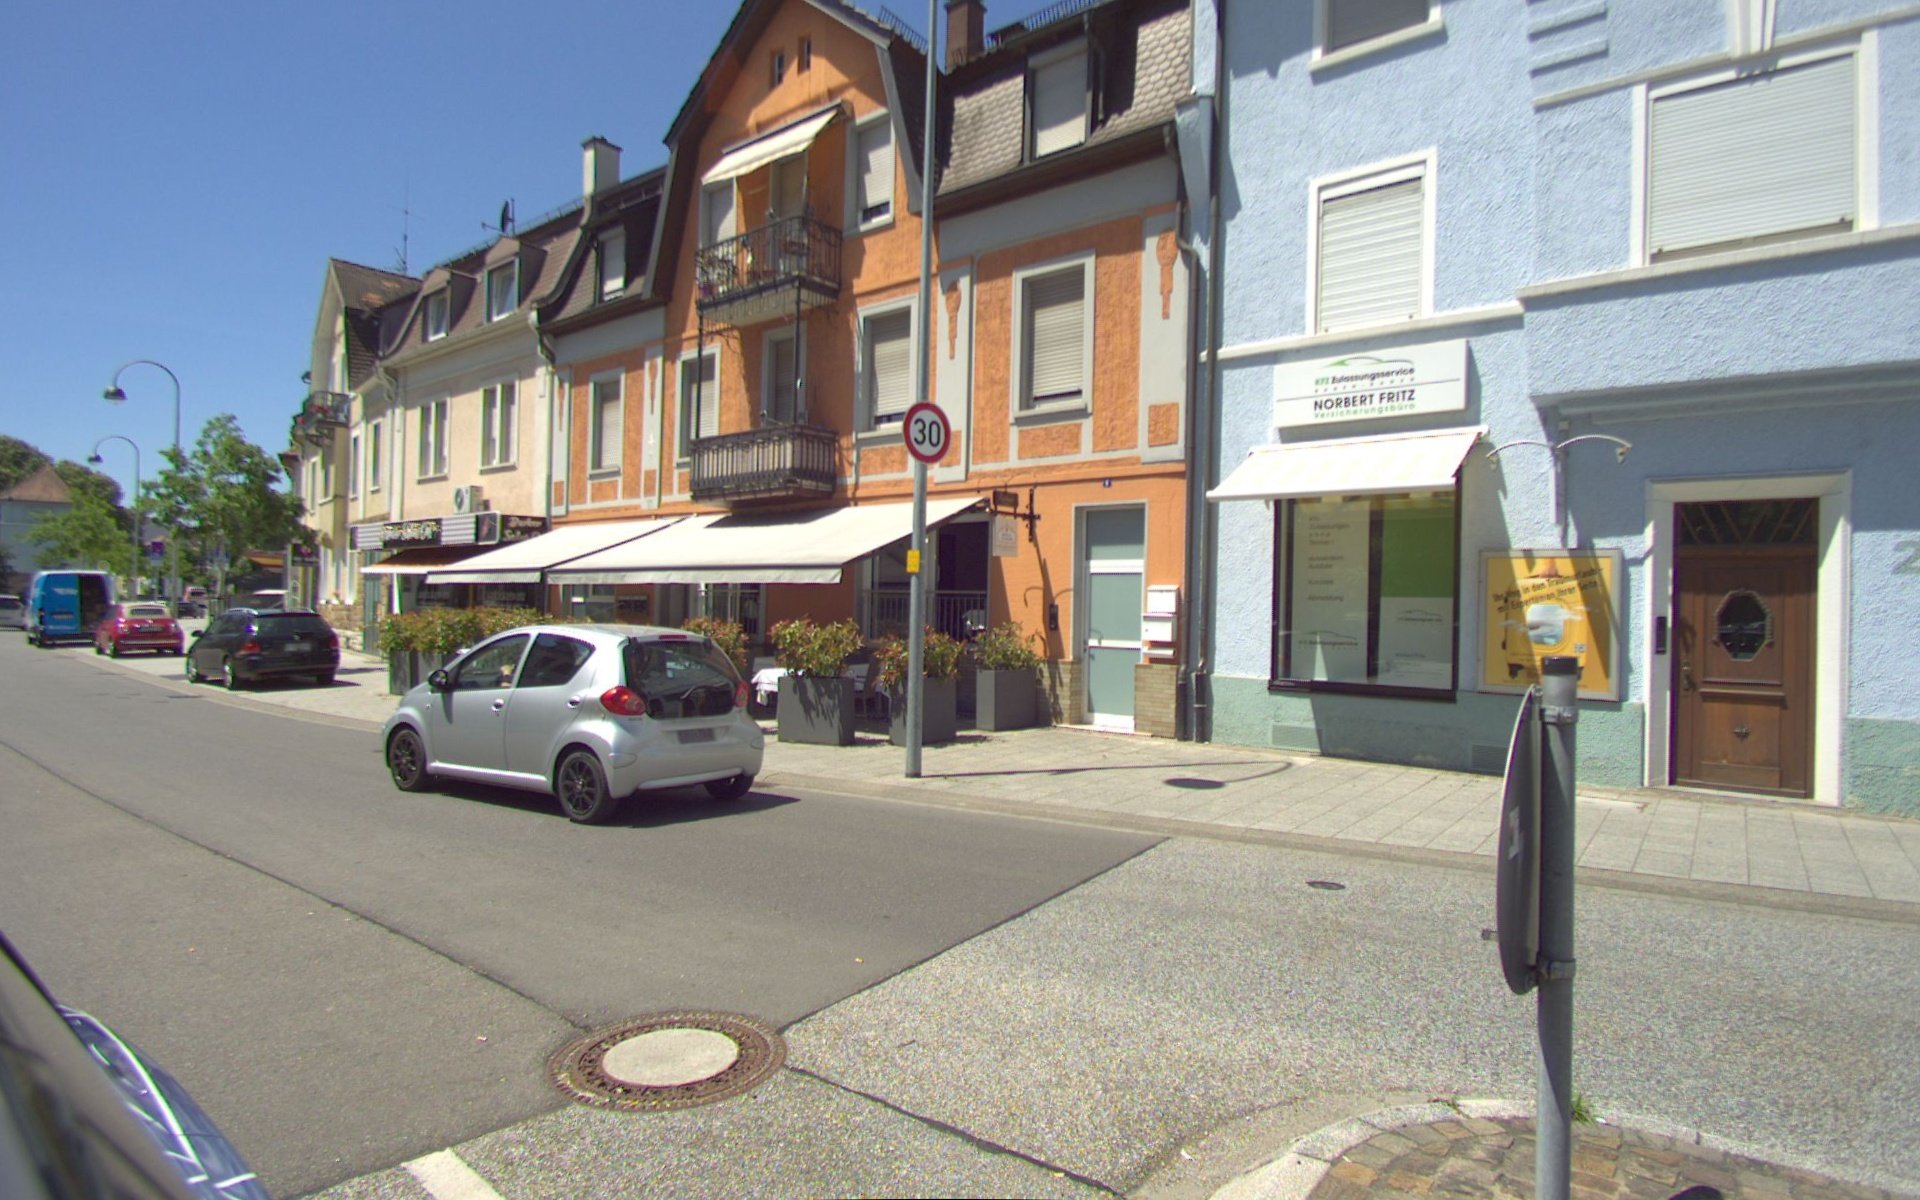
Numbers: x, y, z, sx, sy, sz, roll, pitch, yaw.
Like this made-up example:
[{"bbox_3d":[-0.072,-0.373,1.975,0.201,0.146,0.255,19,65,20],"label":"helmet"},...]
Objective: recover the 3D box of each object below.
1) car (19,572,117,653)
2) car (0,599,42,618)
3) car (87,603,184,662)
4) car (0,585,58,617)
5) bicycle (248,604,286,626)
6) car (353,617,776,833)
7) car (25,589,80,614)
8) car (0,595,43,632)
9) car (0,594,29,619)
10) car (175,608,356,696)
[{"bbox_3d":[-30.220,0.380,34.222,5.505,2.517,2.069,0,0,44],"label":"car"},{"bbox_3d":[-74.870,0.684,79.714,3.761,1.473,1.654,0,0,-41],"label":"car"},{"bbox_3d":[-23.455,0.882,28.754,3.514,1.532,1.543,1,0,41],"label":"car"},{"bbox_3d":[-84.418,0.067,90.787,4.788,2.757,1.856,3,-2,-31],"label":"car"},{"bbox_3d":[-40.906,0.871,59.781,0.616,1.243,1.746,-1,0,42],"label":"bicycle"},{"bbox_3d":[-3.383,0.903,8.522,3.460,1.461,1.562,0,-3,33],"label":"car"},{"bbox_3d":[-57.543,0.114,64.246,1.889,1.437,3.991,2,-2,-32],"label":"car"},{"bbox_3d":[-49.583,0.712,52.632,1.966,1.836,4.428,3,-3,-32],"label":"car"},{"bbox_3d":[-72.082,0.443,75.300,3.756,1.800,1.846,3,-2,-33],"label":"car"},{"bbox_3d":[-13.703,0.926,19.882,4.335,1.493,1.895,0,1,41],"label":"car"}]
